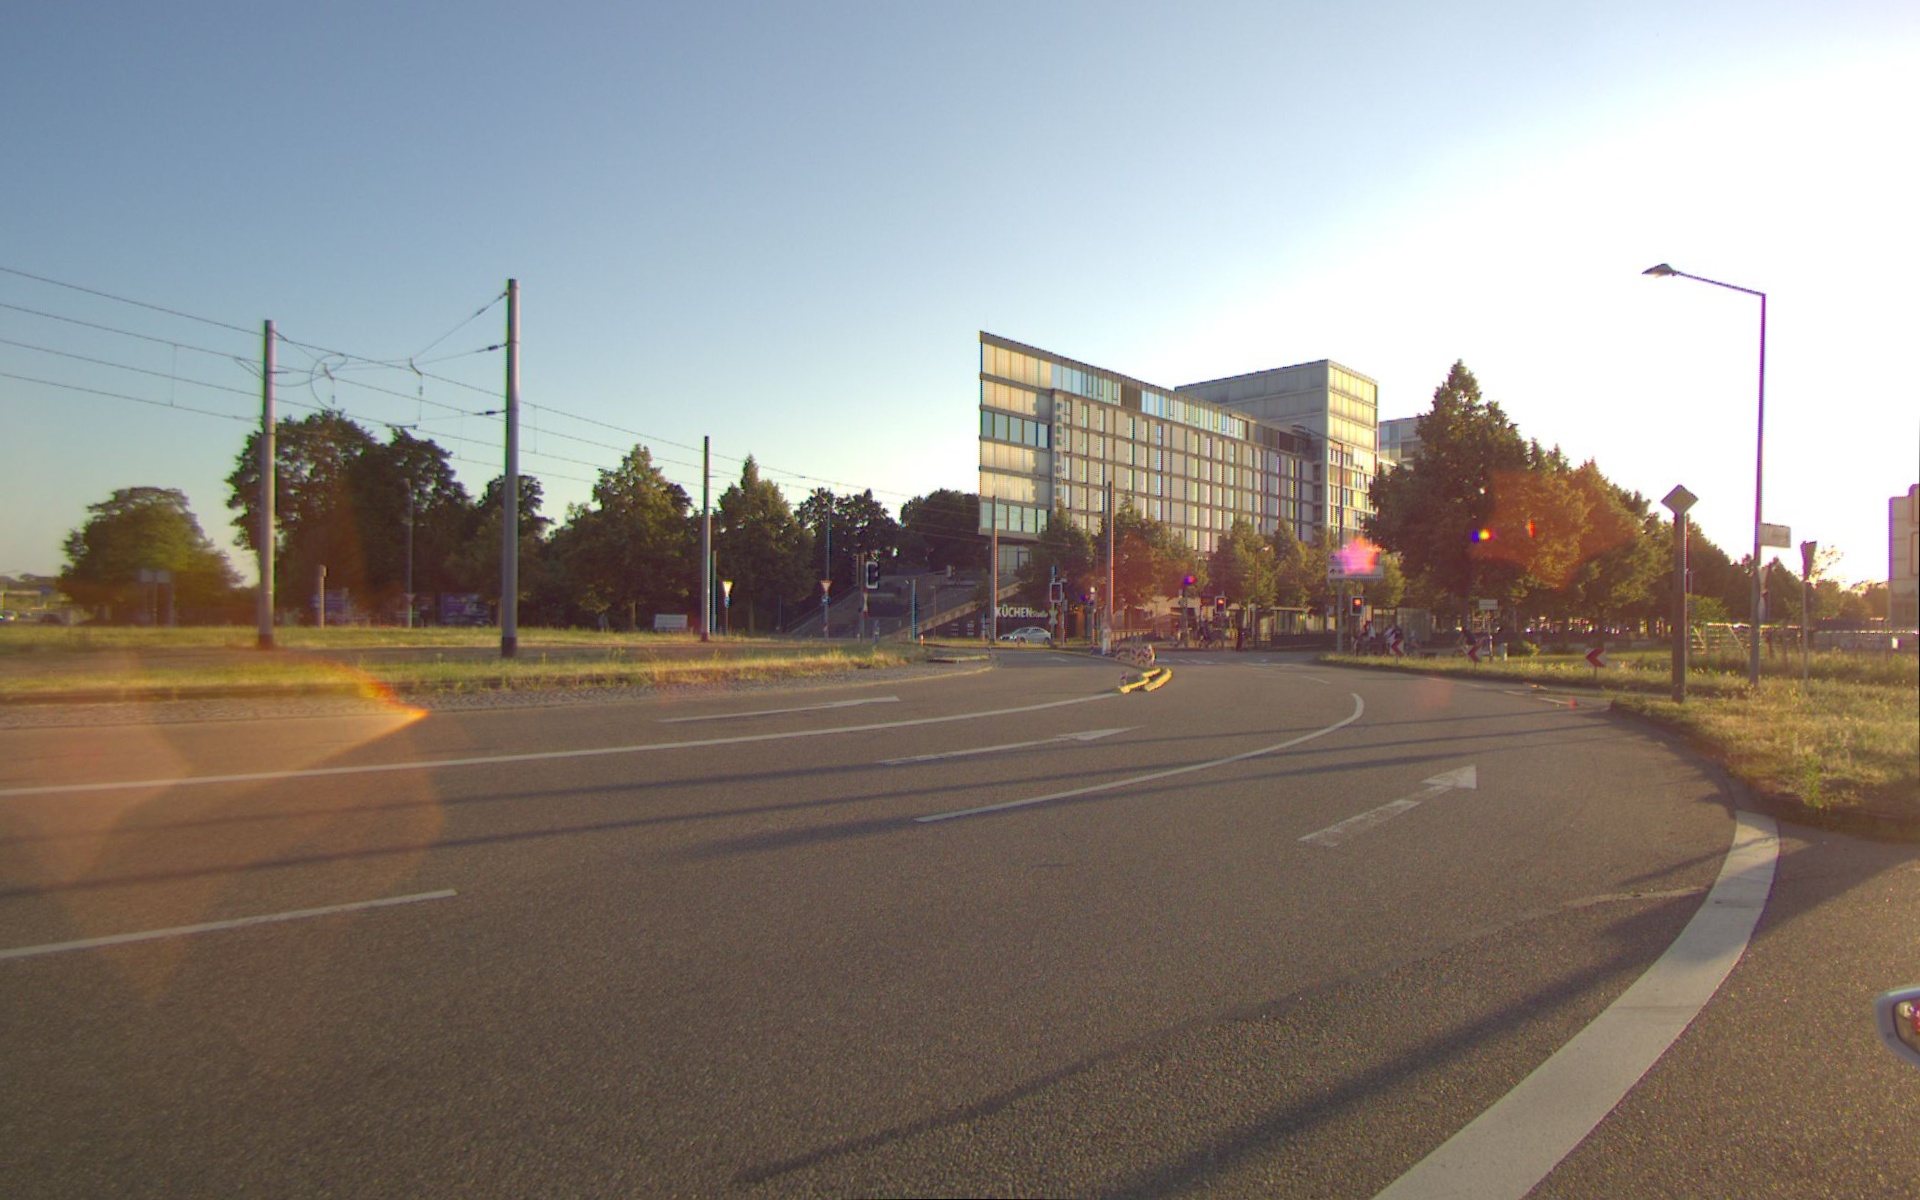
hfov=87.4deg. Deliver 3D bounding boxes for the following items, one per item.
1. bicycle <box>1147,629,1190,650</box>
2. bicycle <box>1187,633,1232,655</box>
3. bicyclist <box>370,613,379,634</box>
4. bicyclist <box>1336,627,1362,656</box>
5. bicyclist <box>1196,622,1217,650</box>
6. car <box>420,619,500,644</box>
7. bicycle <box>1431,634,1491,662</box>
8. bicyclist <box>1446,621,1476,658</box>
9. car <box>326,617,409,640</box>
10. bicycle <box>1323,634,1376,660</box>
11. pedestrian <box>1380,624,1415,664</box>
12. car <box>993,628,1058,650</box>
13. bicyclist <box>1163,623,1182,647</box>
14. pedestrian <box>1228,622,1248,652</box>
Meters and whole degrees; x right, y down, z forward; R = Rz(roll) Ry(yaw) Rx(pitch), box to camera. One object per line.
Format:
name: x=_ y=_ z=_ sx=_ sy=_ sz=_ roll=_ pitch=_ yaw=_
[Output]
bicycle: x=12.283 y=2.326 z=59.110 sx=2.370 sy=1.182 sz=0.752 roll=0 pitch=-1 yaw=36
bicycle: x=14.314 y=2.536 z=57.689 sx=2.368 sy=1.182 sz=0.752 roll=0 pitch=-1 yaw=33
bicyclist: x=-40.961 y=1.650 z=70.296 sx=0.444 sy=1.416 sz=0.469 roll=1 pitch=-1 yaw=-37
bicyclist: x=19.169 y=2.033 z=49.515 sx=0.748 sy=1.412 sz=0.968 roll=2 pitch=-1 yaw=-38
bicyclist: x=14.201 y=2.062 z=57.821 sx=0.962 sy=1.545 sz=0.753 roll=1 pitch=-1 yaw=33
car: x=-31.244 y=1.952 z=62.795 sx=4.233 sy=1.451 sz=1.946 roll=0 pitch=-1 yaw=15
bicycle: x=22.509 y=2.138 z=45.162 sx=0.746 sy=1.182 sz=2.389 roll=2 pitch=-1 yaw=-32
bicyclist: x=22.503 y=1.767 z=45.145 sx=0.746 sy=1.634 sz=0.969 roll=1 pitch=-1 yaw=-32
car: x=-38.105 y=1.807 z=64.601 sx=4.502 sy=1.451 sz=1.946 roll=0 pitch=-1 yaw=13
bicycle: x=19.175 y=2.318 z=49.533 sx=0.748 sy=1.182 sz=2.383 roll=2 pitch=-1 yaw=-37
pedestrian: x=20.446 y=2.055 z=46.988 sx=0.965 sy=1.851 sz=1.155 roll=1 pitch=-1 yaw=-23
car: x=5.028 y=2.966 z=76.686 sx=5.166 sy=1.565 sz=1.974 roll=2 pitch=-1 yaw=-44
bicyclist: x=12.477 y=2.040 z=58.988 sx=0.865 sy=1.411 sz=0.752 roll=1 pitch=-1 yaw=36
pedestrian: x=16.543 y=2.190 z=59.785 sx=0.875 sy=1.730 sz=0.791 roll=0 pitch=-1 yaw=39
